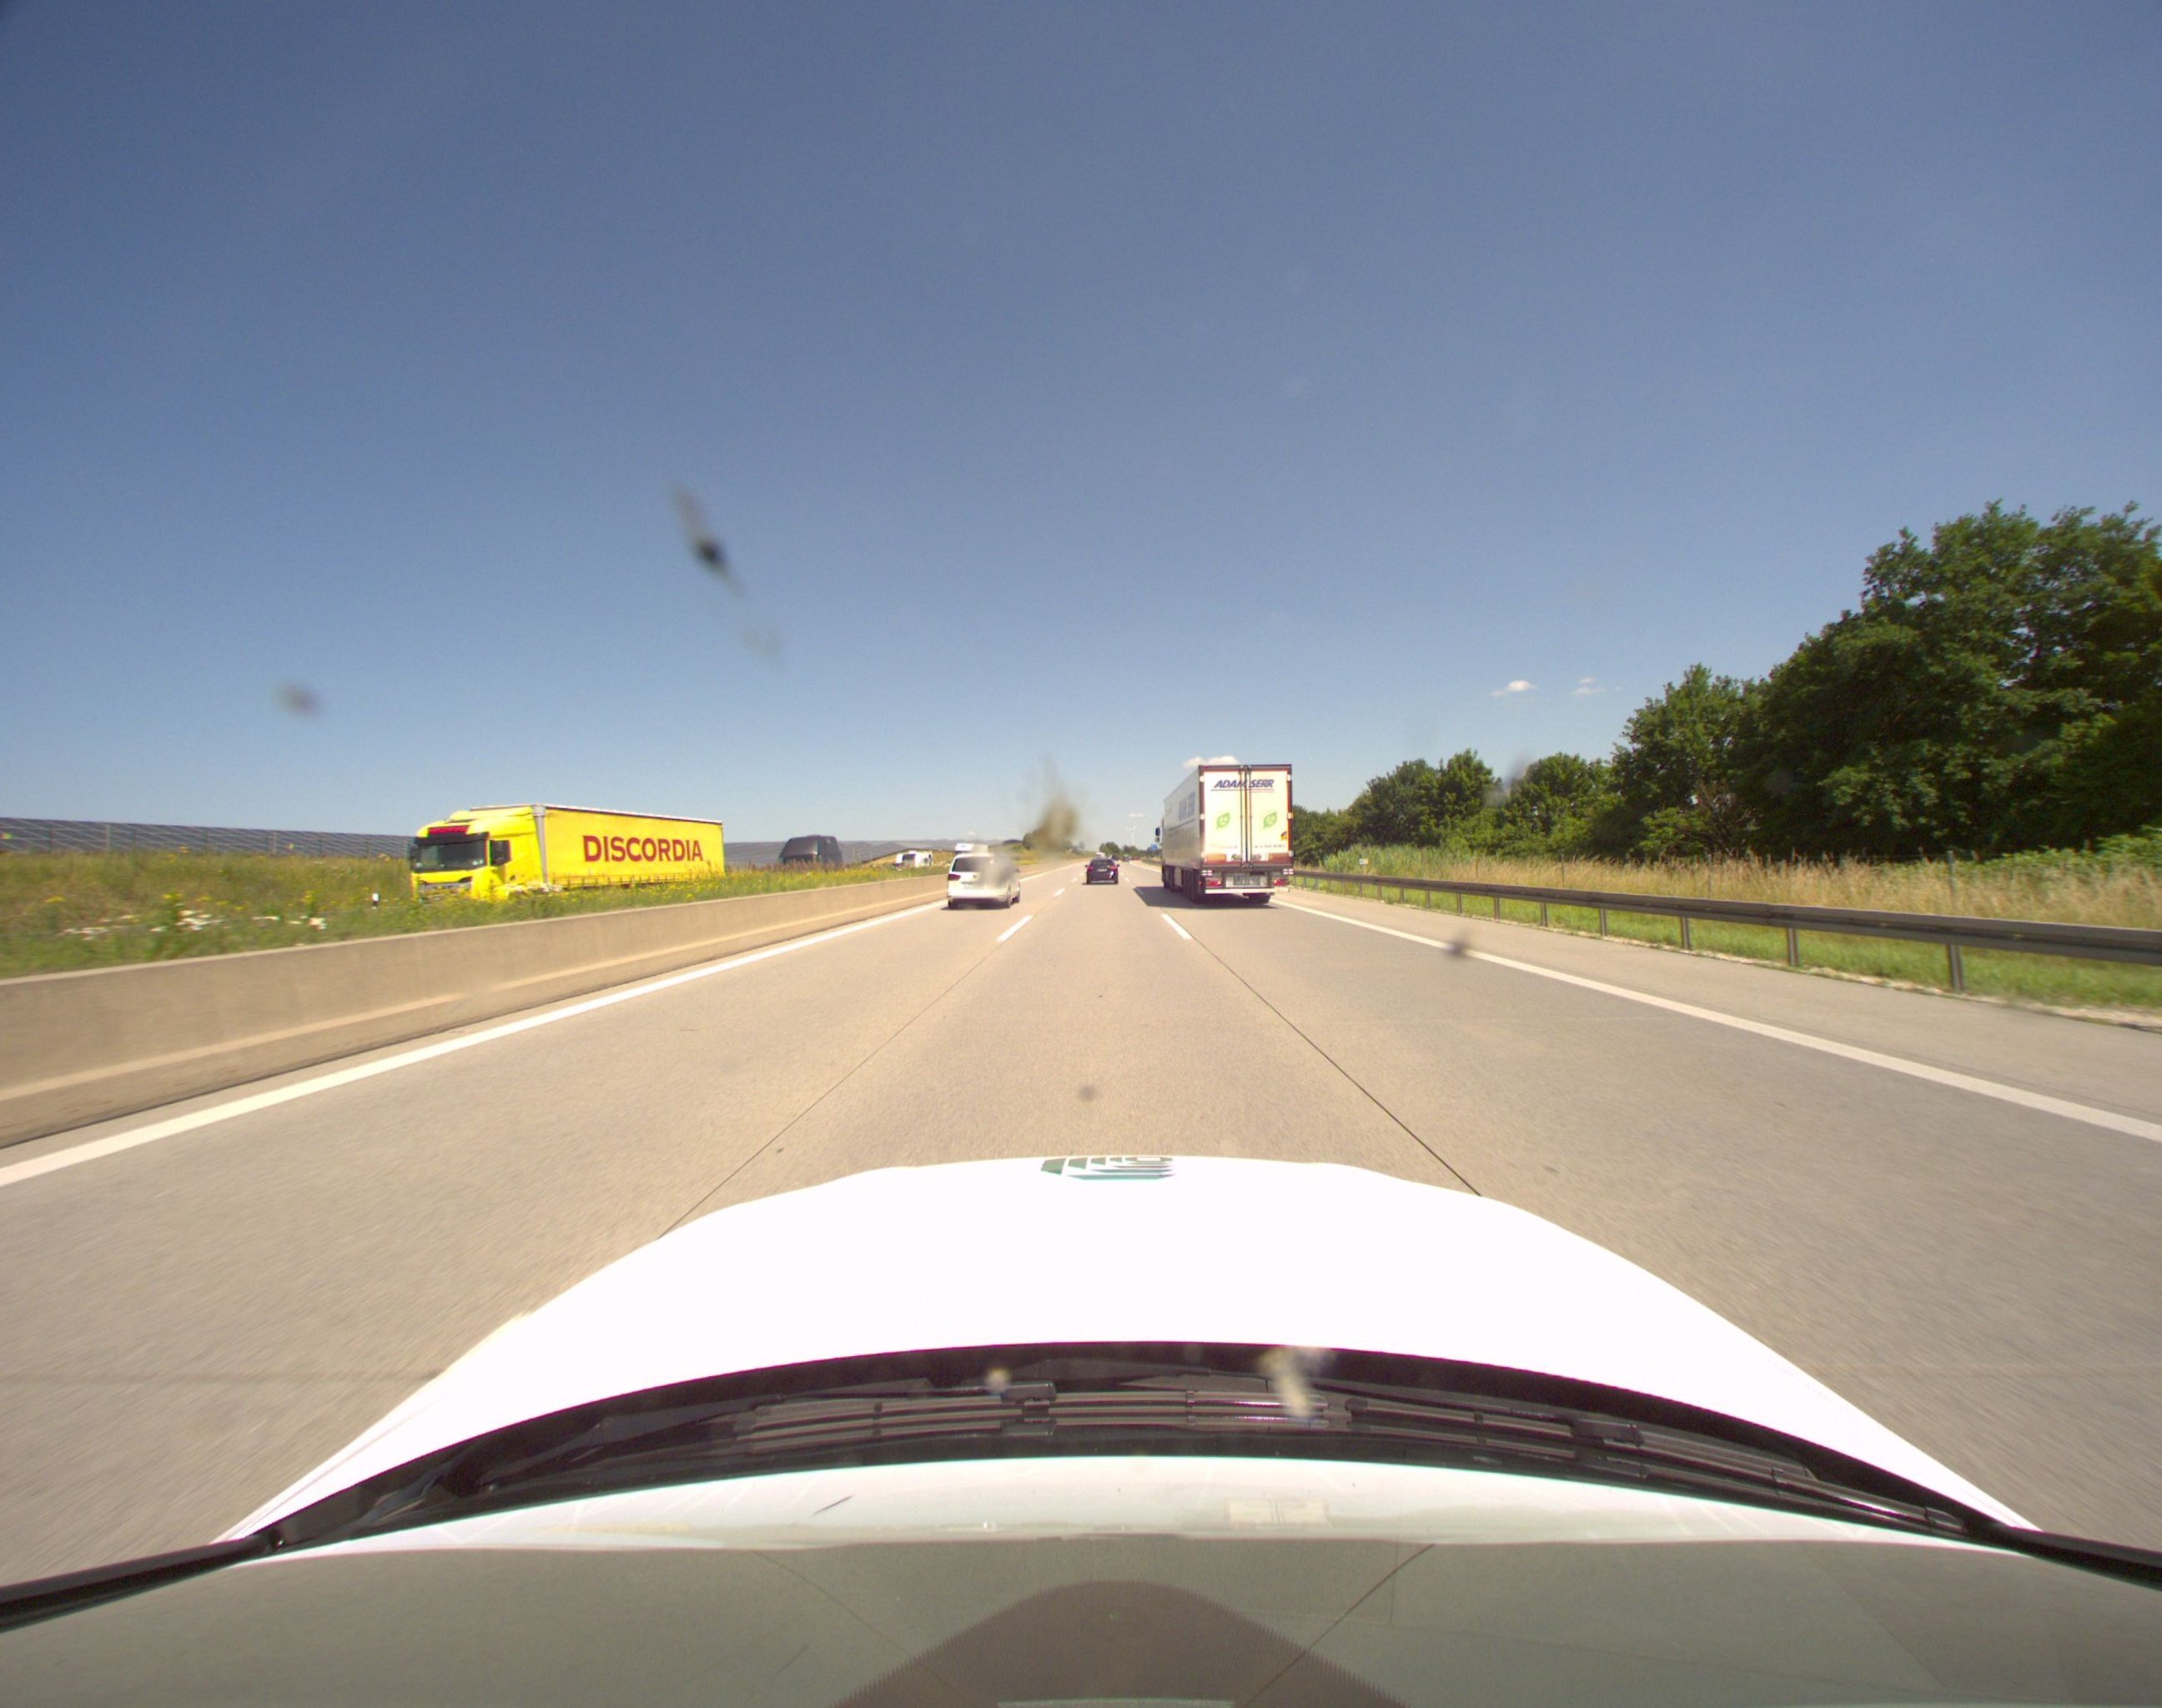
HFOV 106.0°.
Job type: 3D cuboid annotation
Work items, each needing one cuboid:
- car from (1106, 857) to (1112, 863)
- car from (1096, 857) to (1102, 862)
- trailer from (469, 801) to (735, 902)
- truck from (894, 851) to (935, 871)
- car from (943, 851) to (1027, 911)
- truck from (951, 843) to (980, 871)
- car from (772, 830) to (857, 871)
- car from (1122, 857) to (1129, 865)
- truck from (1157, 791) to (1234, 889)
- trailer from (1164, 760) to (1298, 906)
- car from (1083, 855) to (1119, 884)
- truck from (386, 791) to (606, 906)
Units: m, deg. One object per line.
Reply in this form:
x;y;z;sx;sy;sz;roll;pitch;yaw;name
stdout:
8.342;1.845;243.082;1.820;1.937;3.811;-1;-1;2;car
5.204;1.637;235.189;1.649;1.196;3.961;2;0;2;car
-19.771;-0.010;35.585;2.920;3.551;14.025;0;-1;2;trailer
-17.399;0.735;85.648;2.507;2.014;7.632;0;-1;2;truck
-2.962;0.813;26.508;1.838;1.708;6.038;0;-1;2;car
-17.231;0.499;122.151;3.079;4.004;7.256;0;-1;1;truck
-12.055;-0.115;37.317;1.986;1.728;5.391;0;-1;2;car
11.971;1.860;217.564;1.819;1.907;4.004;-1;-1;3;car
5.068;-0.580;36.961;2.802;4.088;5.800;0;0;1;truck
4.776;-0.550;28.866;2.842;4.042;12.719;0;0;2;trailer
1.069;0.833;45.618;1.904;1.492;4.191;0;0;0;car
-20.010;-0.138;28.442;2.912;3.540;6.350;-1;-1;2;truck
